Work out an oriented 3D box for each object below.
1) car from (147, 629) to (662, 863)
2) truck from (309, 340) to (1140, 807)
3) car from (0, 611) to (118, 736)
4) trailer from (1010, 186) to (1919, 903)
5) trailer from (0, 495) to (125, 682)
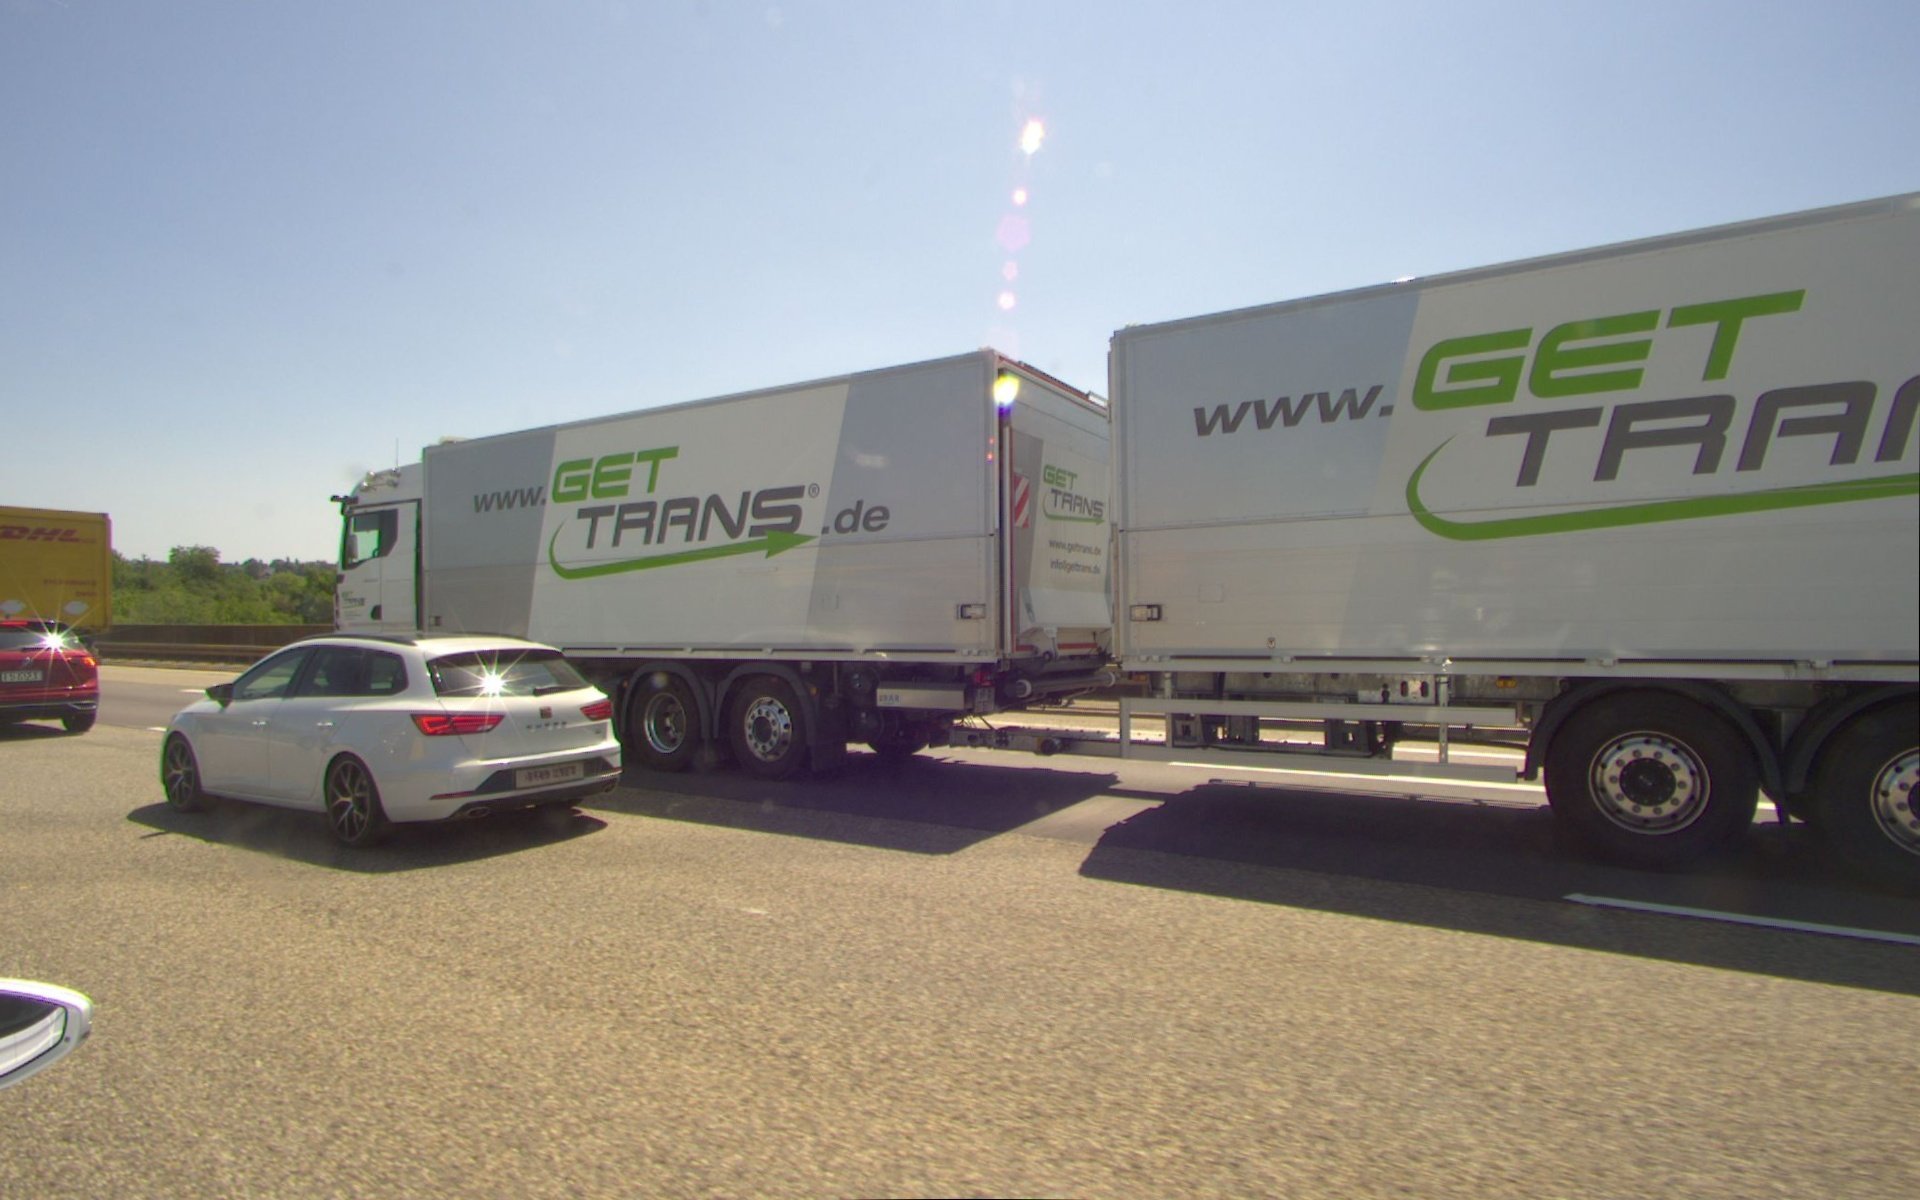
[{"bbox_3d":[-4.491,0.941,7.952,4.126,1.405,1.778,-1,-1,31],"label":"car"},{"bbox_3d":[-3.408,-0.130,11.819,10.611,3.649,2.847,0,-1,31],"label":"truck"},{"bbox_3d":[-14.014,0.977,14.378,3.942,1.629,1.848,-1,-1,32],"label":"car"},{"bbox_3d":[4.605,-0.239,6.912,8.171,3.641,2.840,-1,-1,31],"label":"trailer"},{"bbox_3d":[-24.195,-0.138,24.871,8.802,4.074,2.697,-1,-2,32],"label":"trailer"}]
